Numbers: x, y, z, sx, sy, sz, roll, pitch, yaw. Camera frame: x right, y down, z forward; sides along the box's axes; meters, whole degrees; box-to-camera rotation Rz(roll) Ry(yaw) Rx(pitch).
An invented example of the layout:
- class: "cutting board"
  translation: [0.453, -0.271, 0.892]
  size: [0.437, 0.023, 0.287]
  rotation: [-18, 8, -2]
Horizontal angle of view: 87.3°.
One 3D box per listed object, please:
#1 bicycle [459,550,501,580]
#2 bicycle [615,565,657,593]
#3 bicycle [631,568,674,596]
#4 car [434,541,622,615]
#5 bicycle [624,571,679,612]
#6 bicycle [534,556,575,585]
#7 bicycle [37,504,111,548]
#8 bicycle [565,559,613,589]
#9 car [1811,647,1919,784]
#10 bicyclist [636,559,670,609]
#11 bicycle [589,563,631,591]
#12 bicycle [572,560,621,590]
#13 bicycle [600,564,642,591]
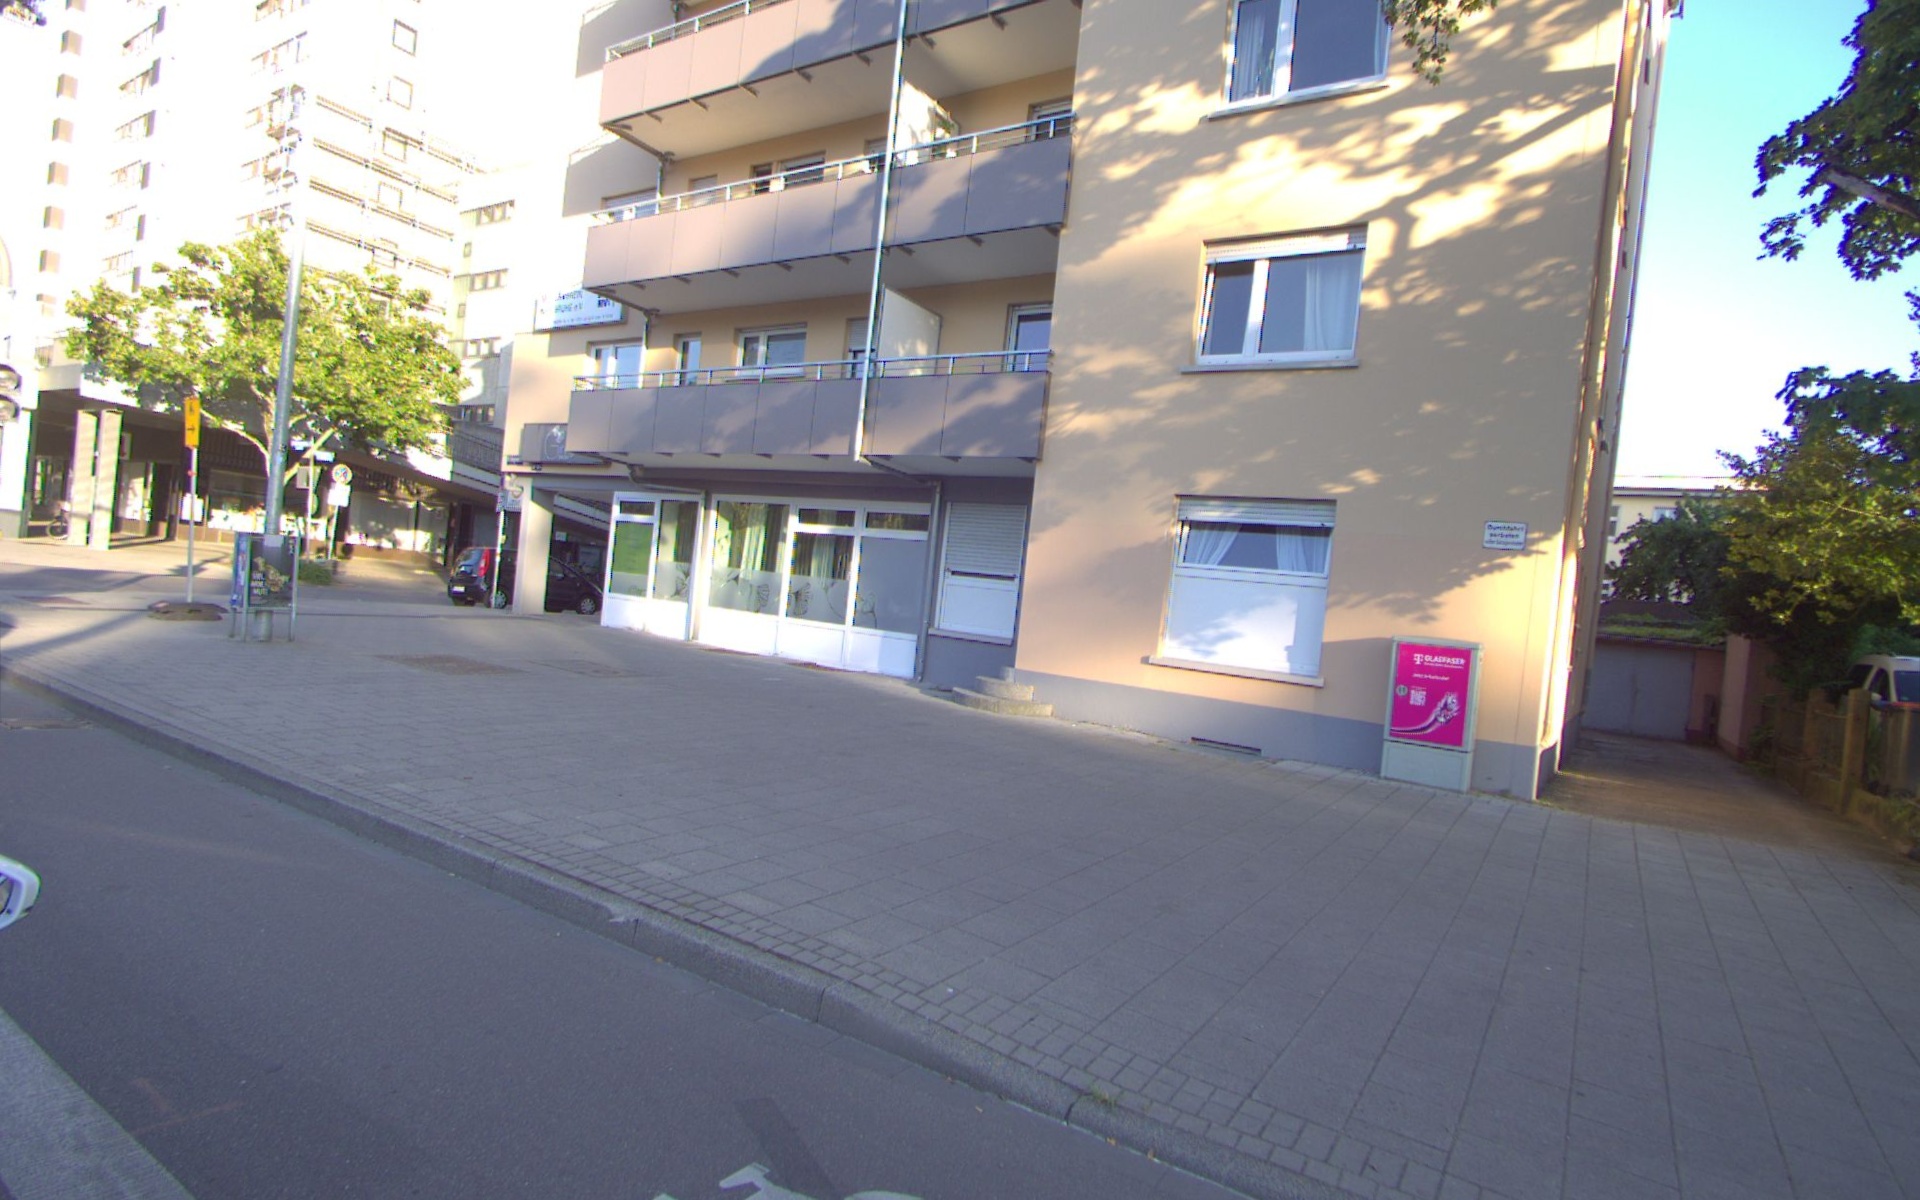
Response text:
- class: "bicycle"
  translation: [-20.198, -1.476, 42.323]
  size: [1.946, 1.086, 0.581]
  rotation: [5, -3, 35]
- class: "bicycle"
  translation: [-15.385, -1.009, 47.740]
  size: [1.942, 1.087, 0.583]
  rotation: [6, -3, 26]
- class: "bicycle"
  translation: [-14.961, -0.875, 48.928]
  size: [1.941, 1.087, 0.583]
  rotation: [6, -2, 21]
- class: "car"
  translation: [-10.868, -0.522, 25.547]
  size: [1.680, 1.605, 4.037]
  rotation: [3, -1, 36]
- class: "bicycle"
  translation: [-11.143, -0.295, 36.399]
  size: [0.642, 1.326, 1.782]
  rotation: [7, 0, 34]
- class: "bicycle"
  translation: [-17.794, -1.317, 44.152]
  size: [1.946, 1.086, 0.581]
  rotation: [5, -3, 35]
- class: "bicycle"
  translation: [-28.977, -2.409, 32.899]
  size: [1.984, 1.162, 0.692]
  rotation: [7, -2, 14]
- class: "bicycle"
  translation: [-16.998, -1.189, 46.094]
  size: [1.939, 1.087, 0.584]
  rotation: [7, -2, 13]
- class: "car"
  translation: [14.592, 1.727, 14.963]
  size: [1.794, 1.780, 4.513]
  rotation: [8, 2, 27]
- class: "bicyclist"
  translation: [-11.107, -0.577, 36.403]
  size: [0.642, 1.702, 0.818]
  rotation: [7, 1, 34]
- class: "bicycle"
  translation: [-16.324, -1.090, 46.949]
  size: [1.943, 1.087, 0.582]
  rotation: [6, -3, 29]
- class: "bicycle"
  translation: [-16.808, -1.160, 46.537]
  size: [1.939, 1.087, 0.584]
  rotation: [7, -2, 9]
- class: "bicycle"
  translation: [-15.959, -1.055, 47.388]
  size: [1.943, 1.087, 0.582]
  rotation: [6, -3, 29]
